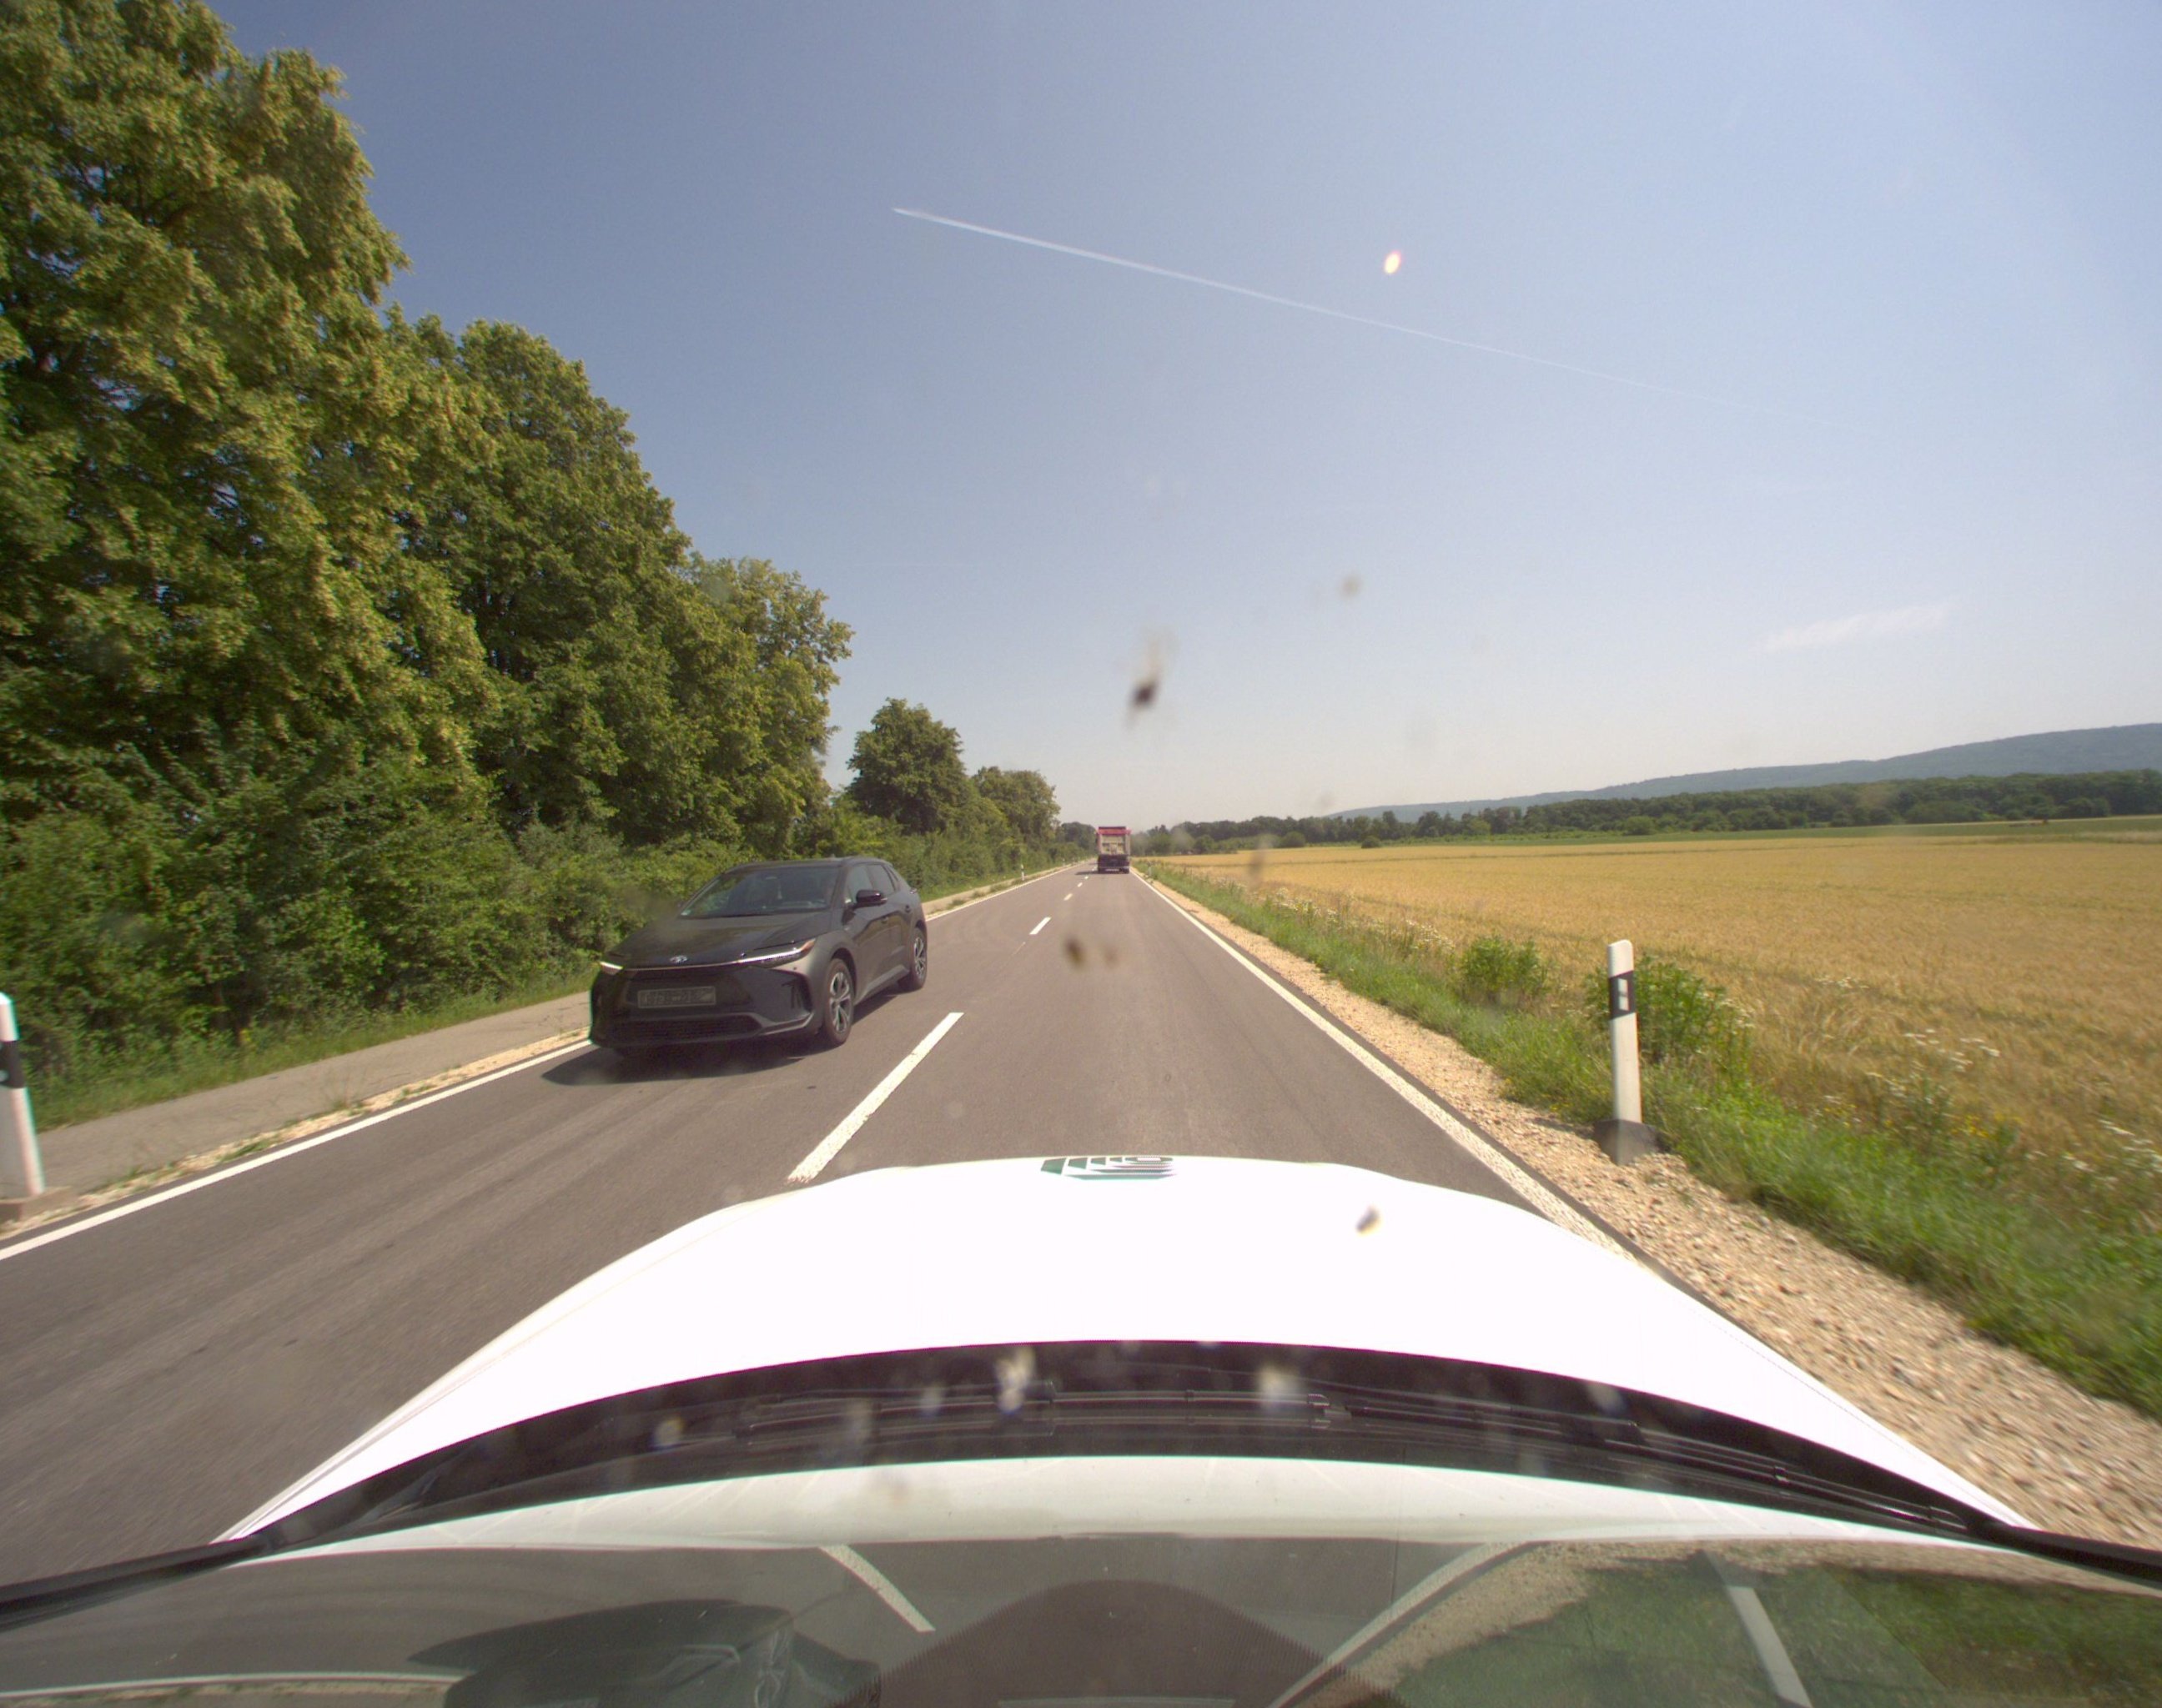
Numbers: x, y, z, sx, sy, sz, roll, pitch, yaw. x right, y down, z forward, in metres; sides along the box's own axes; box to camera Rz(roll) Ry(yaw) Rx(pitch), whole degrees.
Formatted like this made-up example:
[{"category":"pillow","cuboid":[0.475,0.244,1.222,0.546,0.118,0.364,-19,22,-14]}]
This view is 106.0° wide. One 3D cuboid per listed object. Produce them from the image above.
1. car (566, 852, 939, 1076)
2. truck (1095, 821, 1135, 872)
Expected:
[{"category":"car","cuboid":[-2.829,0.815,8.283,1.785,1.574,4.481,-3,0,2]},{"category":"truck","cuboid":[2.799,-0.512,67.907,2.998,3.874,12.214,0,0,2]}]
